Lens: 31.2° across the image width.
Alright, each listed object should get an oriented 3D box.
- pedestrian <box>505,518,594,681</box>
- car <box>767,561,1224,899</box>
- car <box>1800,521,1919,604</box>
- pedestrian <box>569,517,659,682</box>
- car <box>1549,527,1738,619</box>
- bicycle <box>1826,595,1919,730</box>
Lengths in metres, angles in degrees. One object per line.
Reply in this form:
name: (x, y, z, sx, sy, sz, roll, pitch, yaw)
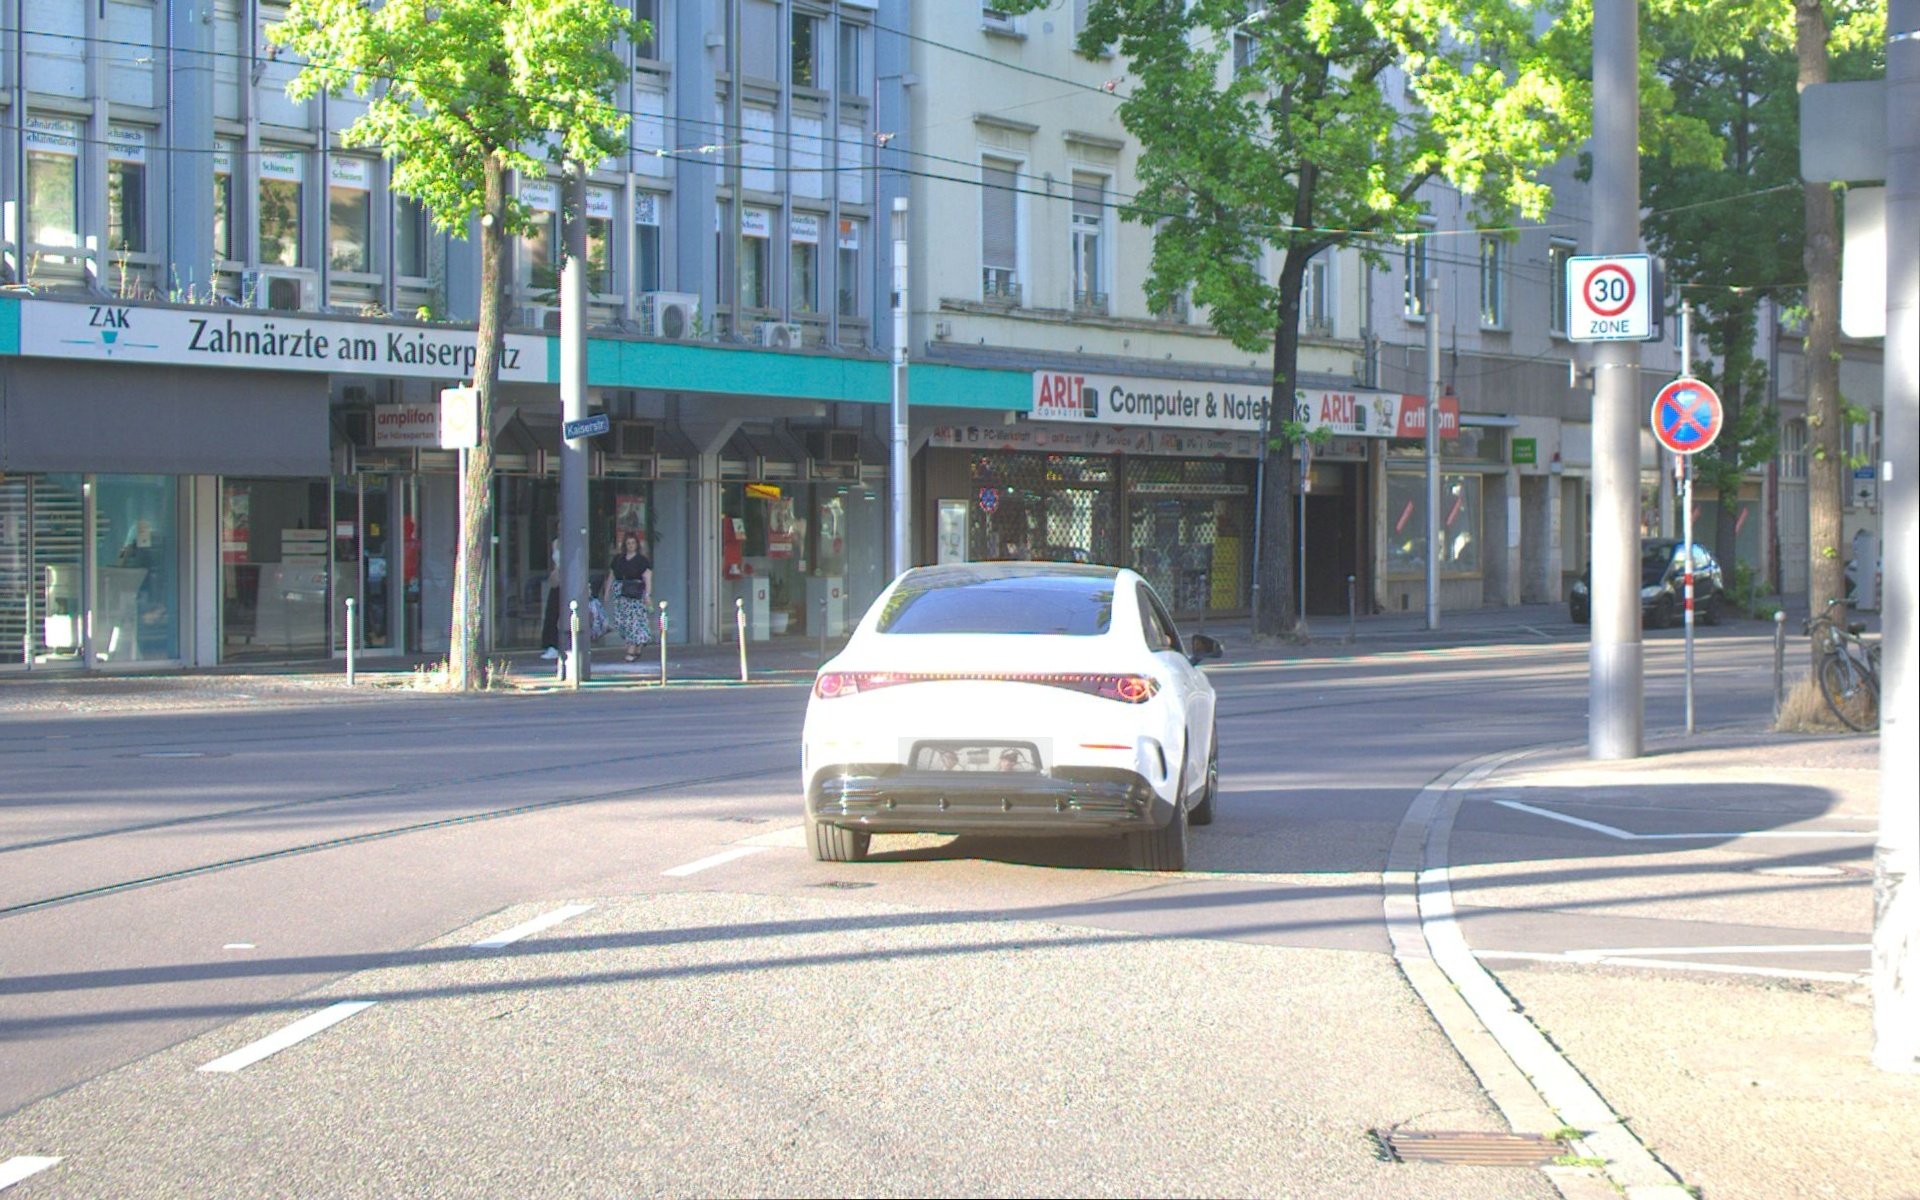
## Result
pedestrian: (-5.108, -0.014, 42.783, 0.798, 2.007, 0.732, 1, 1, 35)
car: (0.305, 0.558, 17.539, 1.868, 1.464, 4.041, 1, 1, 7)
car: (19.905, -0.829, 73.836, 1.966, 1.634, 4.803, 4, 3, 34)
pedestrian: (-4.274, -0.017, 42.443, 0.798, 2.007, 0.732, 1, 1, 35)
car: (12.660, -0.515, 63.566, 1.966, 1.634, 3.992, 1, 1, 35)
bicycle: (7.586, 0.502, 28.407, 0.355, 1.073, 1.696, 1, 1, 31)
